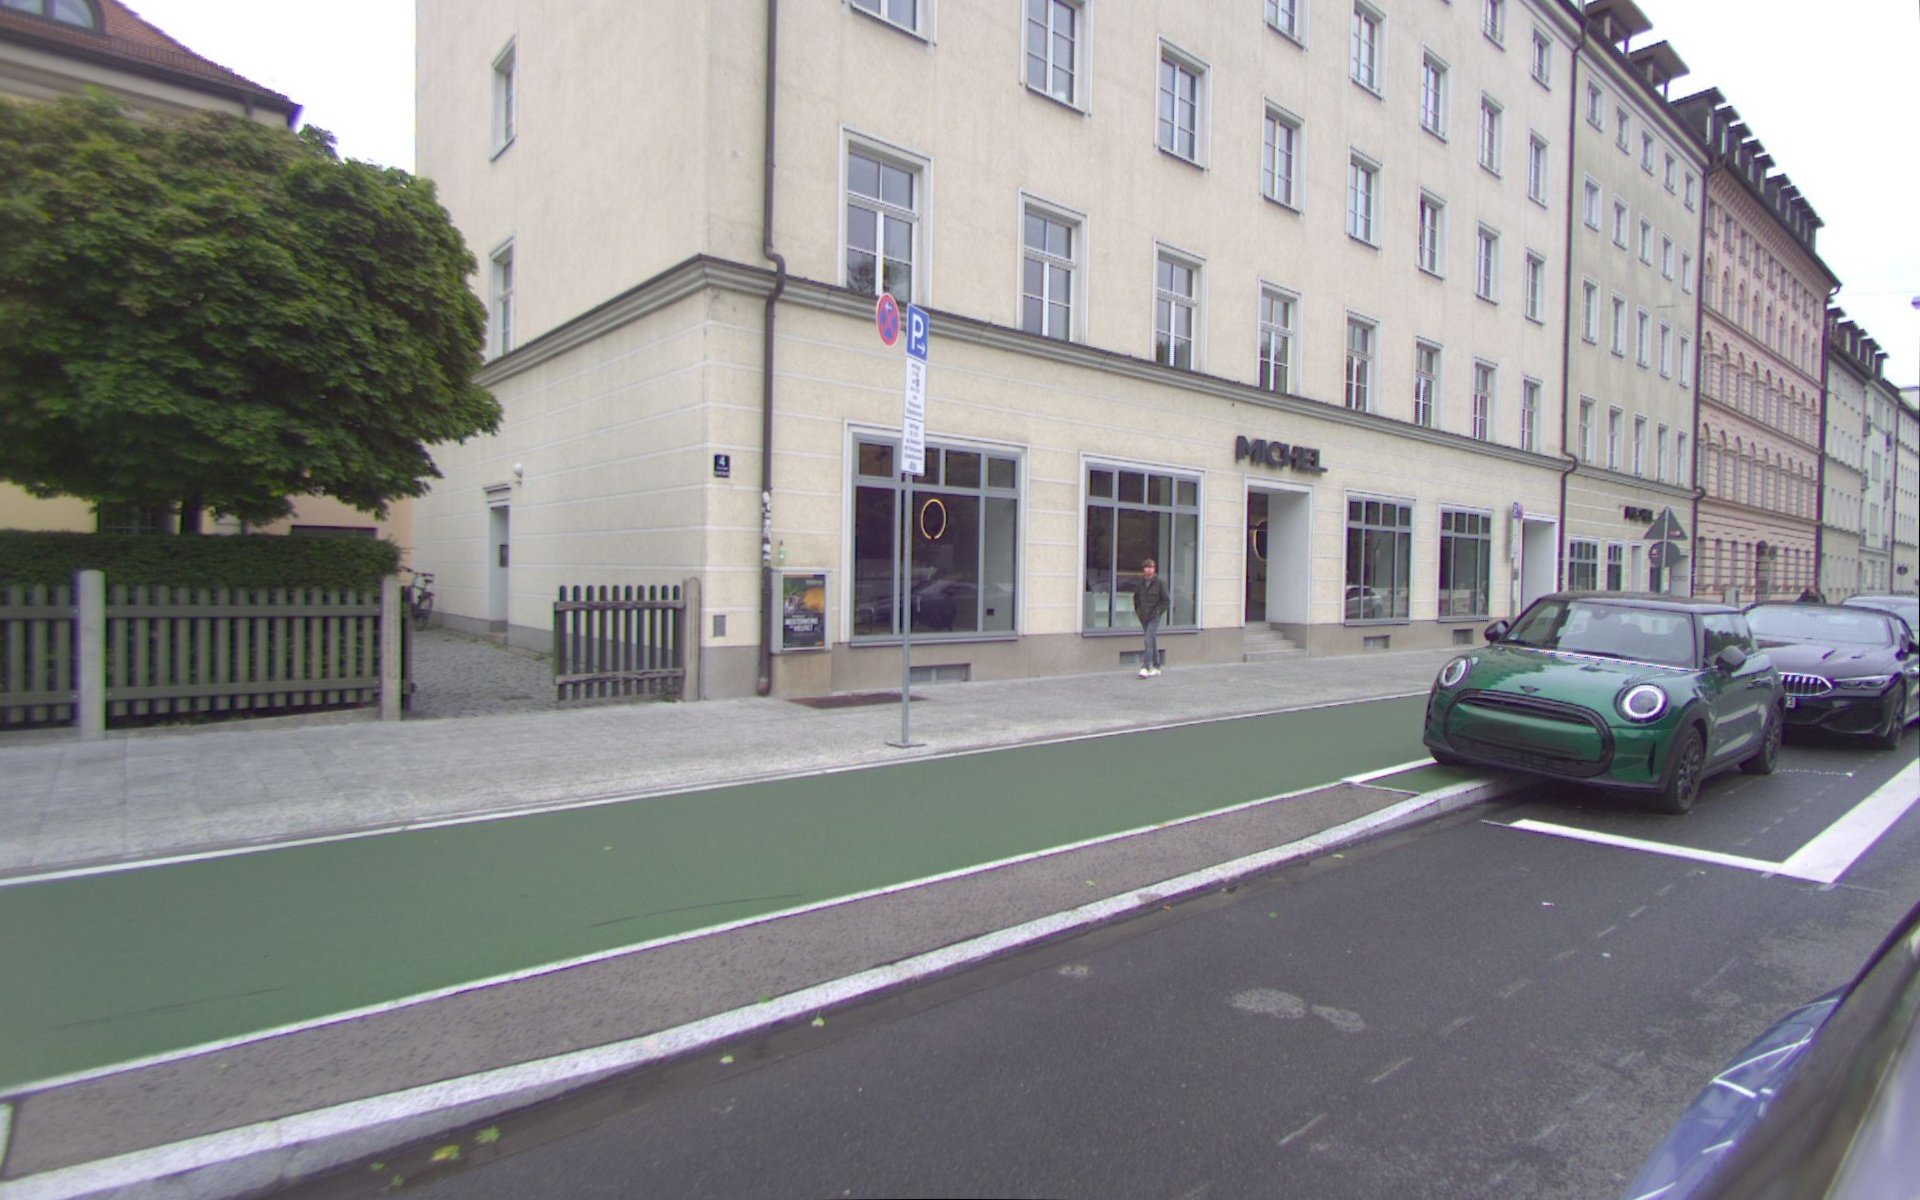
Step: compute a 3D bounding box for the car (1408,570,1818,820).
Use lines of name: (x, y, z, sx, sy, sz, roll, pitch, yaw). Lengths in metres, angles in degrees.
car: (5.325, 0.570, 8.087, 3.760, 1.540, 1.679, 0, 0, -39)

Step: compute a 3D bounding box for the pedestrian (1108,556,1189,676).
pedestrian: (2.798, 0.213, 15.027, 0.846, 1.710, 0.780, 0, 2, -39)

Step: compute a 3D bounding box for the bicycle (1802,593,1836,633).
bicycle: (24.371, 0.349, 28.712, 0.631, 1.050, 1.986, 2, 2, 43)

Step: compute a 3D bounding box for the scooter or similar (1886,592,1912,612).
scooter or similar: (57.005, 0.131, 61.448, 1.064, 1.207, 0.451, 2, 1, 21)

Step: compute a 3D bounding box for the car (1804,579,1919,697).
car: (14.360, 0.521, 15.240, 4.385, 1.498, 1.813, 0, 5, -42)

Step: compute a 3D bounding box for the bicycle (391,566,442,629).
bicycle: (-10.717, -0.076, 19.933, 0.512, 1.186, 1.831, 0, 1, -41)

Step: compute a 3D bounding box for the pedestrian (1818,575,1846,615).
pedestrian: (38.869, -0.234, 45.124, 0.818, 1.767, 0.795, 0, 1, -40)

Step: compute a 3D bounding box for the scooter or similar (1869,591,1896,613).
scooter or similar: (53.317, 0.103, 58.514, 1.055, 1.261, 0.554, 1, 1, -5)

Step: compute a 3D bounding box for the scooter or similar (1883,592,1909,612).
scooter or similar: (57.829, 0.131, 62.510, 1.060, 1.207, 0.436, 1, 1, 11)

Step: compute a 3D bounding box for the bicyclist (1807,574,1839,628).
bicyclist: (24.439, 0.024, 28.670, 0.631, 1.486, 0.643, 2, 1, 43)

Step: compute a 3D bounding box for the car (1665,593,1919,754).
car: (9.660, 0.643, 11.220, 4.634, 1.425, 1.830, 0, 0, -39)
